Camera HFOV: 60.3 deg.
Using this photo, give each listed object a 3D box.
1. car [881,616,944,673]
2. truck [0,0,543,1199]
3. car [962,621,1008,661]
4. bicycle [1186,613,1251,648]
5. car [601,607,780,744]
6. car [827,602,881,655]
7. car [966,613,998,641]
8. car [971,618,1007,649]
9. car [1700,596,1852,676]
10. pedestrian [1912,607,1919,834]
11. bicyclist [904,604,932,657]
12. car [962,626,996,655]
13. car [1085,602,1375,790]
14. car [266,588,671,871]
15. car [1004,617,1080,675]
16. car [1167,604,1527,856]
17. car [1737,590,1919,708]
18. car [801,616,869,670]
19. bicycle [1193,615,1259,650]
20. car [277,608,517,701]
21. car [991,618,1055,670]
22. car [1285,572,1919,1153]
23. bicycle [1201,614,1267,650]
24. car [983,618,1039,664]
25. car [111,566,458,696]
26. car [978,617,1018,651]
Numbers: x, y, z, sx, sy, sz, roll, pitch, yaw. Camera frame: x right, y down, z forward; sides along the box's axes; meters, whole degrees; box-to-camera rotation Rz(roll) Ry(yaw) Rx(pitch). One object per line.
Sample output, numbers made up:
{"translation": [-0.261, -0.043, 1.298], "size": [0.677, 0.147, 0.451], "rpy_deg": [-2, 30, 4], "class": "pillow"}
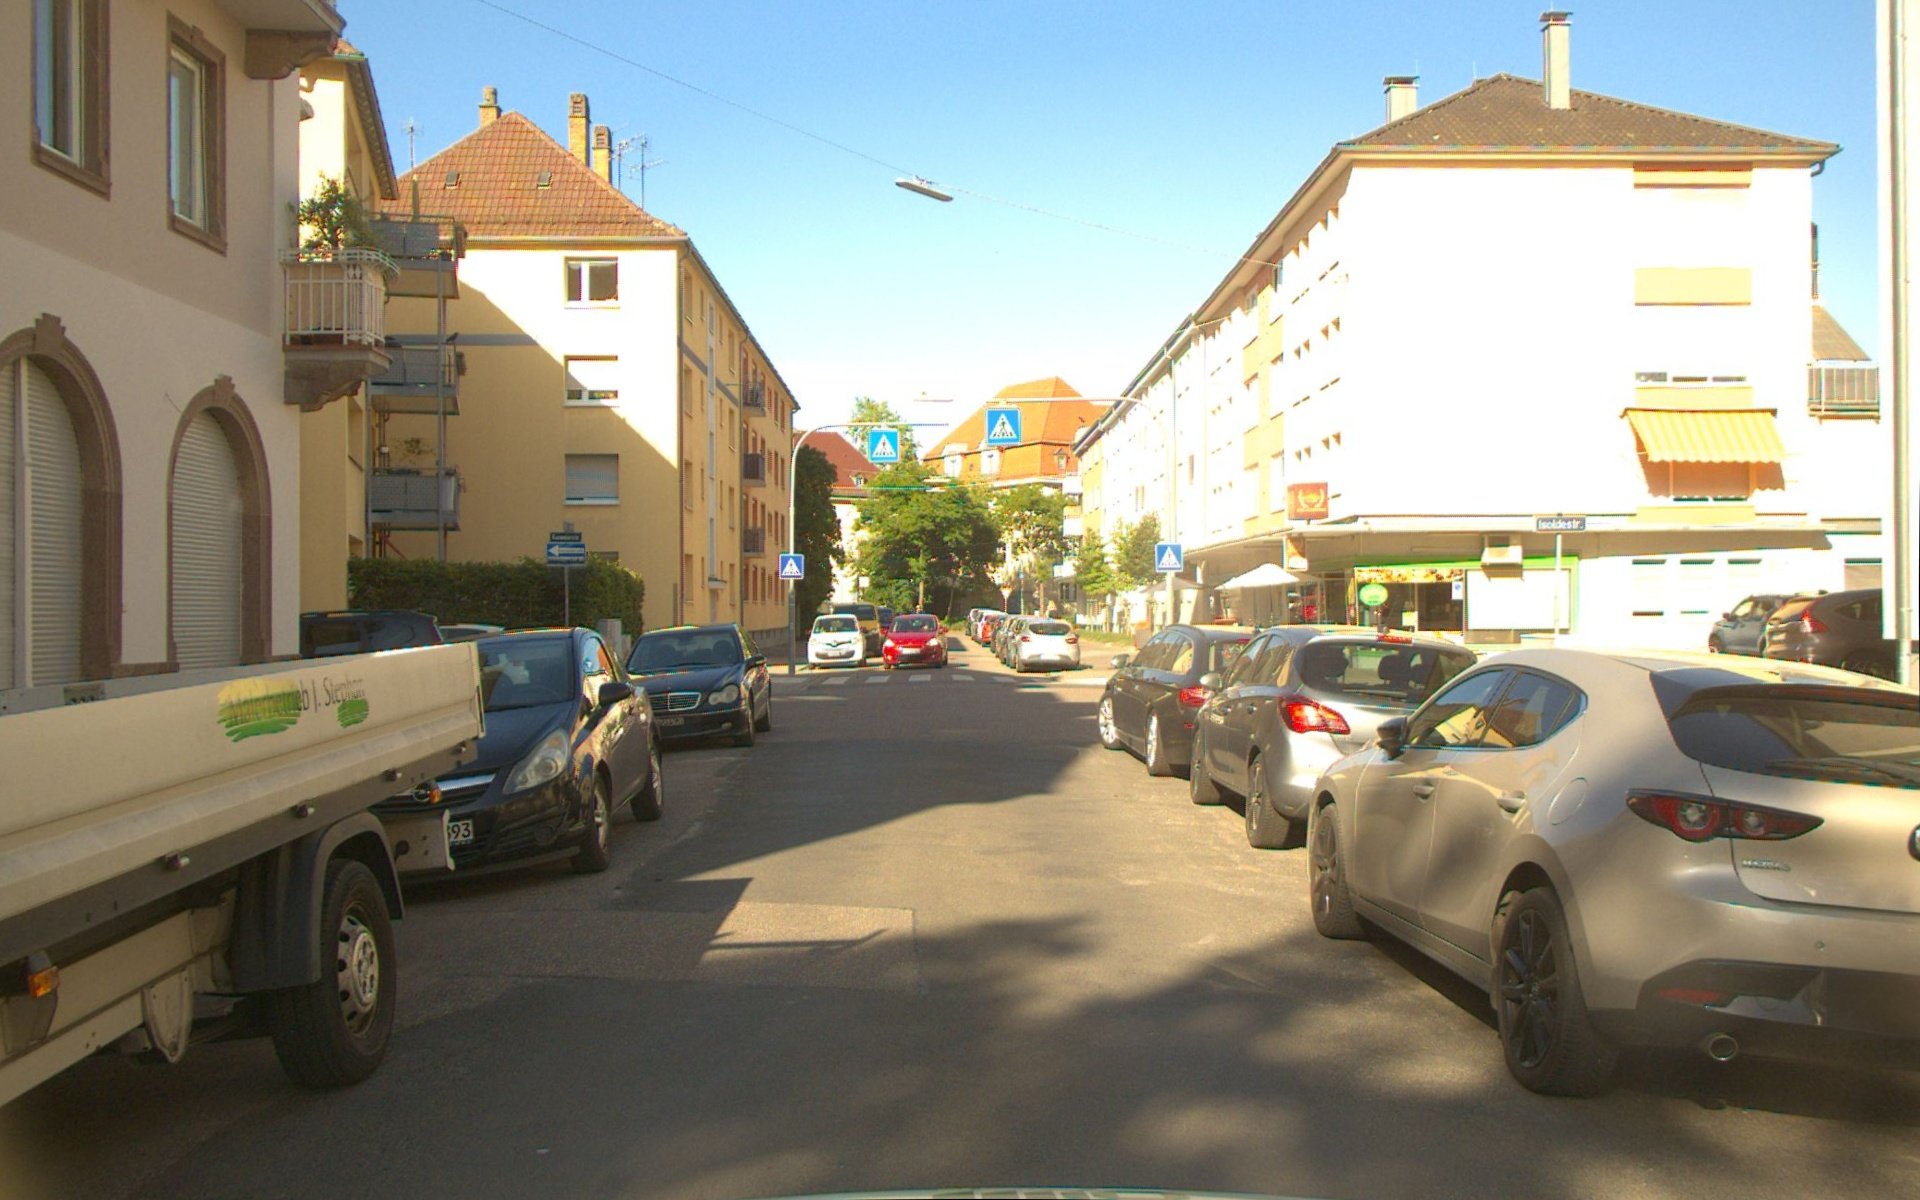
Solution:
{"translation": [-1.357, 1.232, 46.316], "size": [1.663, 1.466, 3.416], "rpy_deg": [2, -1, -3], "class": "car"}
{"translation": [-2.922, -0.130, 3.823], "size": [2.214, 3.038, 7.271], "rpy_deg": [-2, -2, -2], "class": "truck"}
{"translation": [0.962, 1.614, 64.994], "size": [1.605, 1.466, 3.417], "rpy_deg": [2, -1, -2], "class": "car"}
{"translation": [7.743, 0.915, 49.566], "size": [1.774, 0.984, 0.672], "rpy_deg": [2, -2, -12], "class": "bicycle"}
{"translation": [-3.182, 0.896, 20.283], "size": [1.670, 1.441, 4.370], "rpy_deg": [-2, -2, -3], "class": "car"}
{"translation": [-3.827, 1.049, 60.323], "size": [1.663, 1.810, 4.097], "rpy_deg": [2, -1, -1], "class": "car"}
{"translation": [1.199, 1.512, 92.010], "size": [1.605, 1.466, 3.417], "rpy_deg": [2, -1, -2], "class": "car"}
{"translation": [1.427, 1.653, 82.690], "size": [1.604, 1.466, 3.417], "rpy_deg": [1, -1, -2], "class": "car"}
{"translation": [18.083, 0.805, 36.804], "size": [1.547, 1.641, 3.473], "rpy_deg": [2, -1, -2], "class": "car"}
{"translation": [6.429, 0.774, 10.502], "size": [0.442, 1.459, 0.506], "rpy_deg": [1, -1, -11], "class": "pedestrian"}
{"translation": [-1.326, 0.977, 52.389], "size": [0.769, 1.650, 0.956], "rpy_deg": [0, -1, 3], "class": "bicyclist"}
{"translation": [0.985, 2.151, 87.594], "size": [1.605, 1.466, 3.417], "rpy_deg": [2, -1, -2], "class": "car"}
{"translation": [2.558, 0.922, 16.885], "size": [1.817, 1.550, 4.772], "rpy_deg": [3, -2, -4], "class": "car"}
{"translation": [-2.969, 0.752, 10.844], "size": [1.612, 1.441, 4.077], "rpy_deg": [-2, -2, -3], "class": "car"}
{"translation": [2.219, 1.250, 45.378], "size": [1.808, 1.466, 3.417], "rpy_deg": [2, -1, -1], "class": "car"}
{"translation": [2.665, 0.876, 12.271], "size": [1.612, 1.485, 3.938], "rpy_deg": [3, -2, -1], "class": "car"}
{"translation": [14.140, 0.772, 24.731], "size": [4.153, 1.641, 1.825], "rpy_deg": [2, -1, 5], "class": "car"}
{"translation": [-3.694, 1.264, 49.533], "size": [1.755, 1.506, 4.098], "rpy_deg": [1, -1, -1], "class": "car"}
{"translation": [7.866, 0.961, 48.938], "size": [1.774, 0.984, 0.672], "rpy_deg": [2, -2, -12], "class": "bicycle"}
{"translation": [-10.074, 0.977, 29.774], "size": [3.918, 1.505, 1.586], "rpy_deg": [3, -2, -19], "class": "car"}
{"translation": [1.892, 1.333, 50.369], "size": [1.656, 1.466, 3.417], "rpy_deg": [2, -1, -2], "class": "car"}
{"translation": [2.691, 0.831, 6.693], "size": [1.756, 1.496, 4.338], "rpy_deg": [6, -2, 0], "class": "car"}
{"translation": [7.999, 0.933, 48.313], "size": [1.774, 0.984, 0.672], "rpy_deg": [2, -2, -12], "class": "bicycle"}
{"translation": [1.702, 1.387, 55.959], "size": [1.605, 1.466, 3.417], "rpy_deg": [2, -1, -2], "class": "car"}
{"translation": [-9.567, 0.467, 23.778], "size": [4.397, 1.644, 1.768], "rpy_deg": [3, -2, -19], "class": "car"}
{"translation": [1.751, 1.572, 76.568], "size": [1.605, 1.466, 3.417], "rpy_deg": [2, -1, -2], "class": "car"}
